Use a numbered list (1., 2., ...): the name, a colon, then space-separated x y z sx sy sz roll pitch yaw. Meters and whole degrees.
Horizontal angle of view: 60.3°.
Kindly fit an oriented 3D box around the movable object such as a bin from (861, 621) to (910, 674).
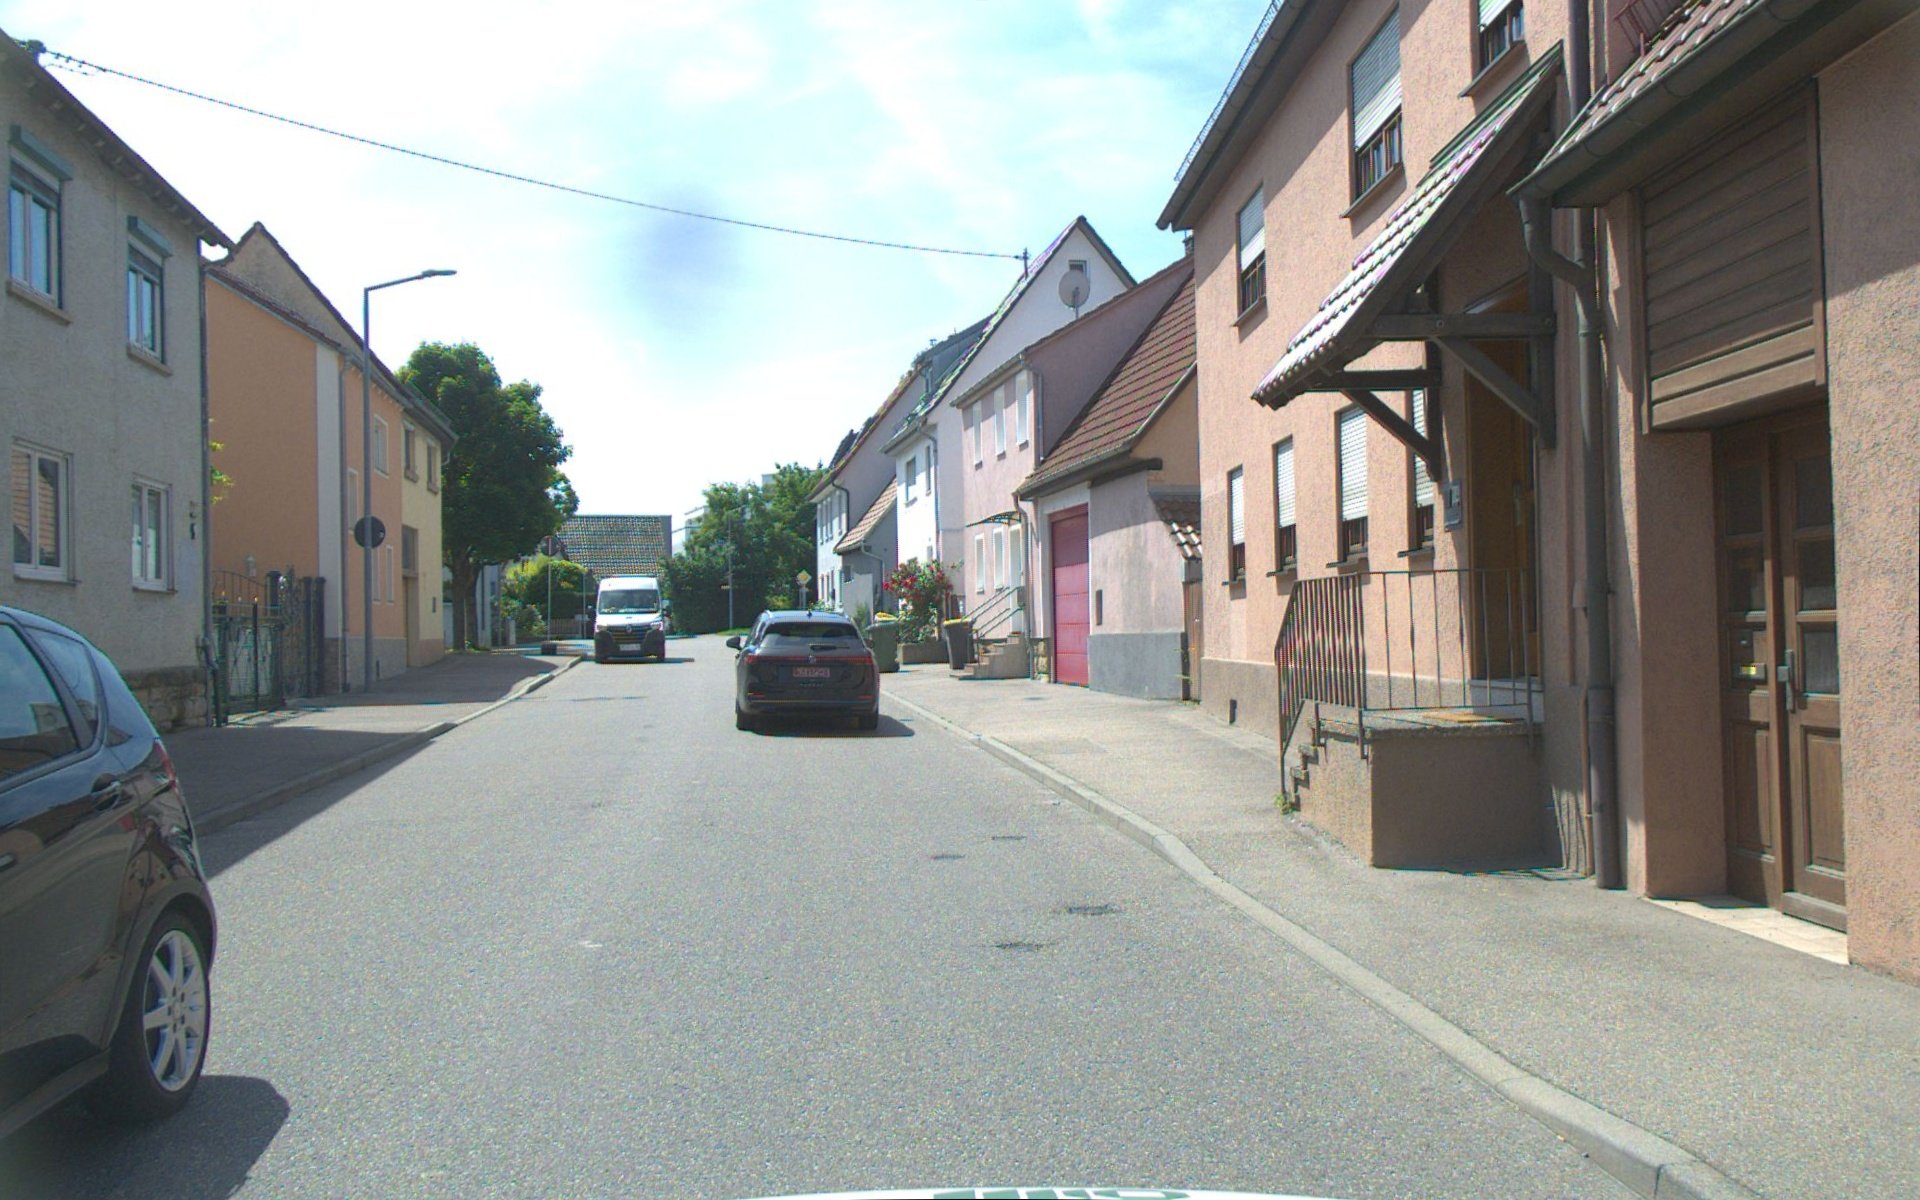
1. movable object such as a bin: -1.646 1.038 36.431 0.861 1.093 0.869 -5 0 -14

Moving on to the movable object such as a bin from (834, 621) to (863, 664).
1. movable object such as a bin: -3.080 1.156 45.482 0.667 1.175 0.817 0 -1 -14

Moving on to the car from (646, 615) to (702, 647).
1. car: -18.883 2.019 109.317 2.082 2.049 4.942 -1 0 10

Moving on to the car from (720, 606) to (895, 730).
1. car: -2.125 0.849 21.858 1.809 1.445 4.668 1 -1 -11

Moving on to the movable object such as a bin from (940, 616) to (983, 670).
1. movable object such as a bin: 0.025 0.916 35.497 0.667 1.068 0.832 -5 0 -14

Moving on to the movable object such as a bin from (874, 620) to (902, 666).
1. movable object such as a bin: -1.945 1.159 44.584 0.653 1.215 0.586 -1 -1 -10

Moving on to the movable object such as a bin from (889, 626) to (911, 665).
1. movable object such as a bin: -1.566 1.184 43.254 0.494 1.011 0.441 -1 -1 -10

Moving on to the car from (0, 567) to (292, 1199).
1. car: -3.090 0.745 3.754 1.765 1.583 4.066 -2 0 -5

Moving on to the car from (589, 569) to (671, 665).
1. car: -9.699 0.497 49.027 2.075 2.607 5.815 -1 0 -9

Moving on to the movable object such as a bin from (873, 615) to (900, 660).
1. movable object such as a bin: -2.023 1.024 45.292 0.653 1.215 0.658 -1 -1 -10

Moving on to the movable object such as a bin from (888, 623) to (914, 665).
1. movable object such as a bin: -1.504 1.117 42.308 0.581 1.058 0.529 -1 -1 -10
